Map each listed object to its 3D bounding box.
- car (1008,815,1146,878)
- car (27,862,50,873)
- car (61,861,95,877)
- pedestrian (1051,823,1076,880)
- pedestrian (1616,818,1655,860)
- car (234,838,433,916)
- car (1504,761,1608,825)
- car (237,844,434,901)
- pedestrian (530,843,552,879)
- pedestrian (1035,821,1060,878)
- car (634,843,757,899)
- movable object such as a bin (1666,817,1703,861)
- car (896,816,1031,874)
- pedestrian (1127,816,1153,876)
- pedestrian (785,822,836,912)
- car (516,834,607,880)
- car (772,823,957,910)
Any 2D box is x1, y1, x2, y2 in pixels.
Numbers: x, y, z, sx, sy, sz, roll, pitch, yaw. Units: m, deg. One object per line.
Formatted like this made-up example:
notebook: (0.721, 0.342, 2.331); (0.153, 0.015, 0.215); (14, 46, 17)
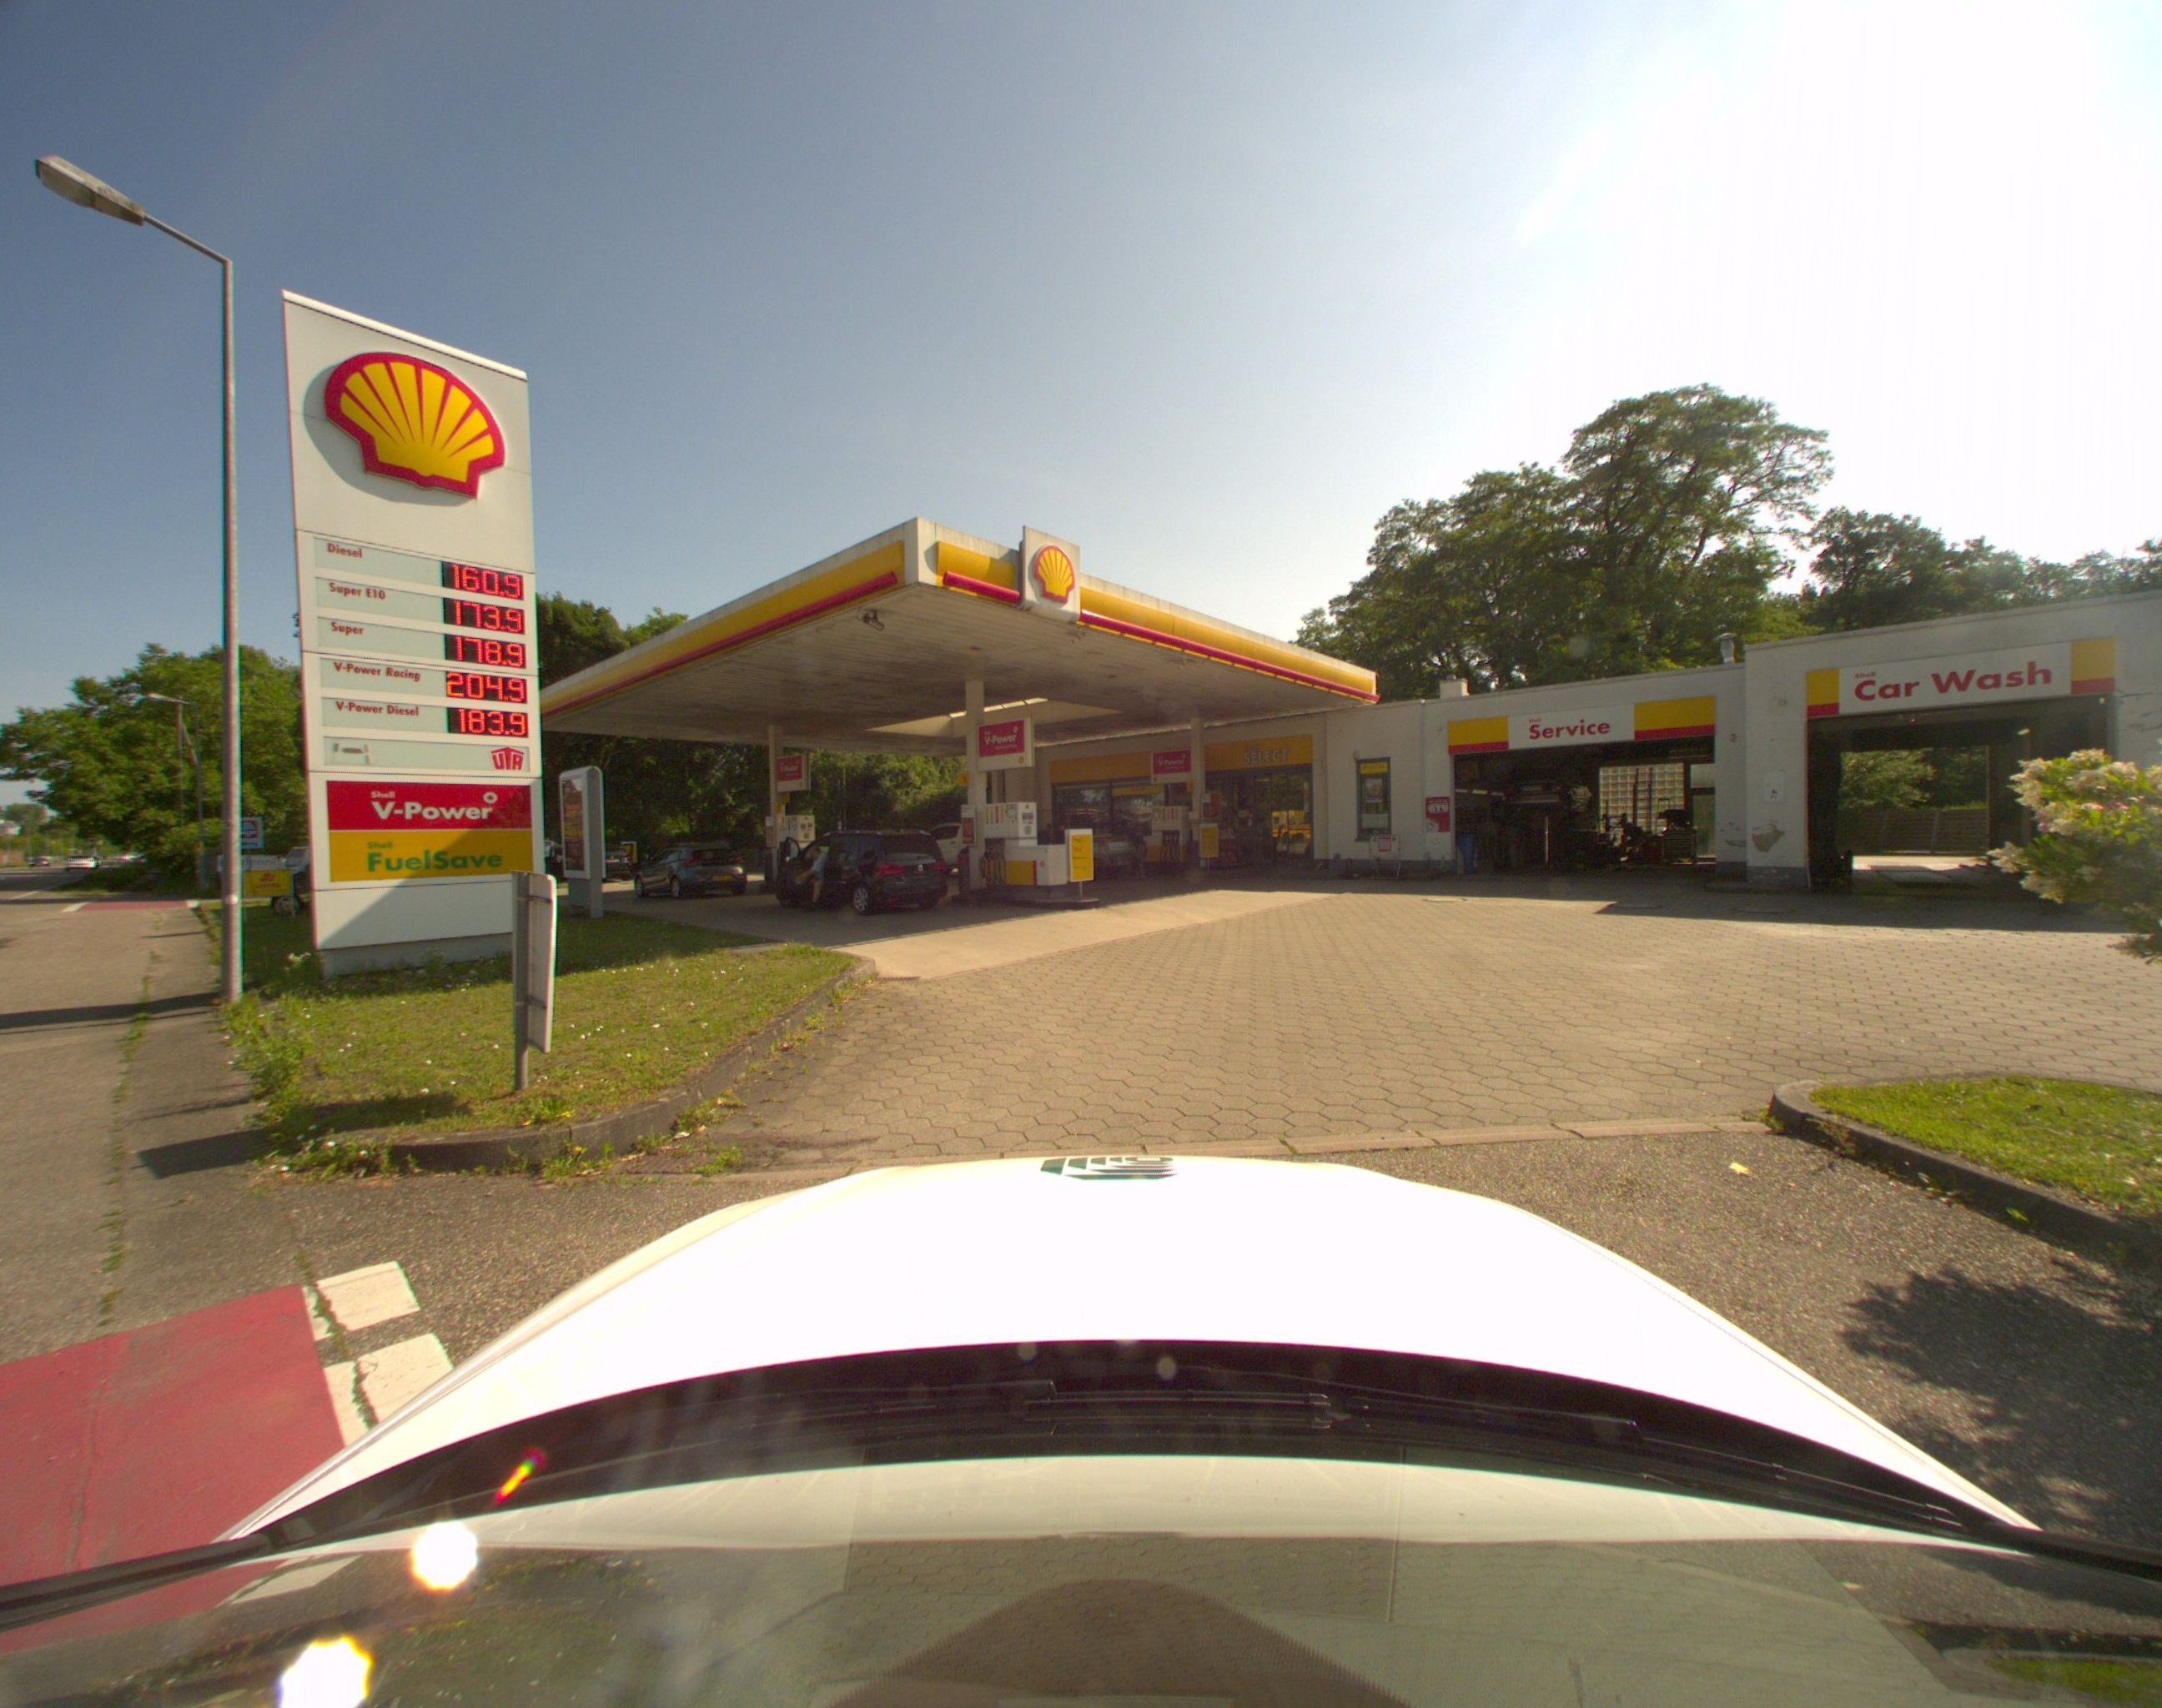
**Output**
car: (-0.186, -0.213, 24.225); (1.844, 1.727, 3.951); (-3, 1, -44)
car: (-157.634, 2.057, 123.132); (4.171, 1.541, 1.864); (-1, -1, 42)
car: (-98.761, 1.477, 80.235); (4.171, 1.541, 1.864); (-1, -1, 42)
pedestrian: (-0.490, -0.081, 23.083); (0.504, 1.593, 0.470); (-2, 1, -44)
pedestrian: (16.221, -0.436, 23.820); (0.855, 1.198, 0.747); (-1, -1, 41)
car: (-15.964, 0.474, 17.507); (2.717, 1.530, 1.576); (-1, -1, -4)
car: (13.464, -1.651, 23.003); (1.631, 1.486, 4.024); (-1, -1, 44)
car: (-21.809, 0.509, 23.980); (1.565, 1.530, 4.025); (-1, 0, 35)
pedestrian: (-23.380, 0.296, 35.259); (0.682, 1.537, 0.389); (-2, 1, -44)
pedestrian: (-0.980, -0.128, 23.714); (0.504, 1.631, 0.470); (-2, 1, -44)
car: (-10.484, 0.409, 22.042); (3.800, 1.360, 1.814); (0, 2, 45)
movable object such as a bin: (17.317, -0.432, 23.371); (0.789, 1.236, 0.547); (-1, -1, 44)
car: (-4.093, -0.305, 27.884); (4.719, 1.837, 1.869); (0, 2, 41)
pedestrian: (1.661, -0.218, 22.908); (0.494, 1.668, 0.478); (0, 1, 43)
pedestrian: (-5.387, 0.242, 16.215); (0.678, 1.729, 0.802); (-2, 1, -42)
car: (-21.309, 0.143, 33.338); (3.948, 1.766, 2.012); (-1, -1, 39)
car: (-4.506, 0.211, 16.711); (3.828, 1.578, 1.776); (0, 2, 40)
